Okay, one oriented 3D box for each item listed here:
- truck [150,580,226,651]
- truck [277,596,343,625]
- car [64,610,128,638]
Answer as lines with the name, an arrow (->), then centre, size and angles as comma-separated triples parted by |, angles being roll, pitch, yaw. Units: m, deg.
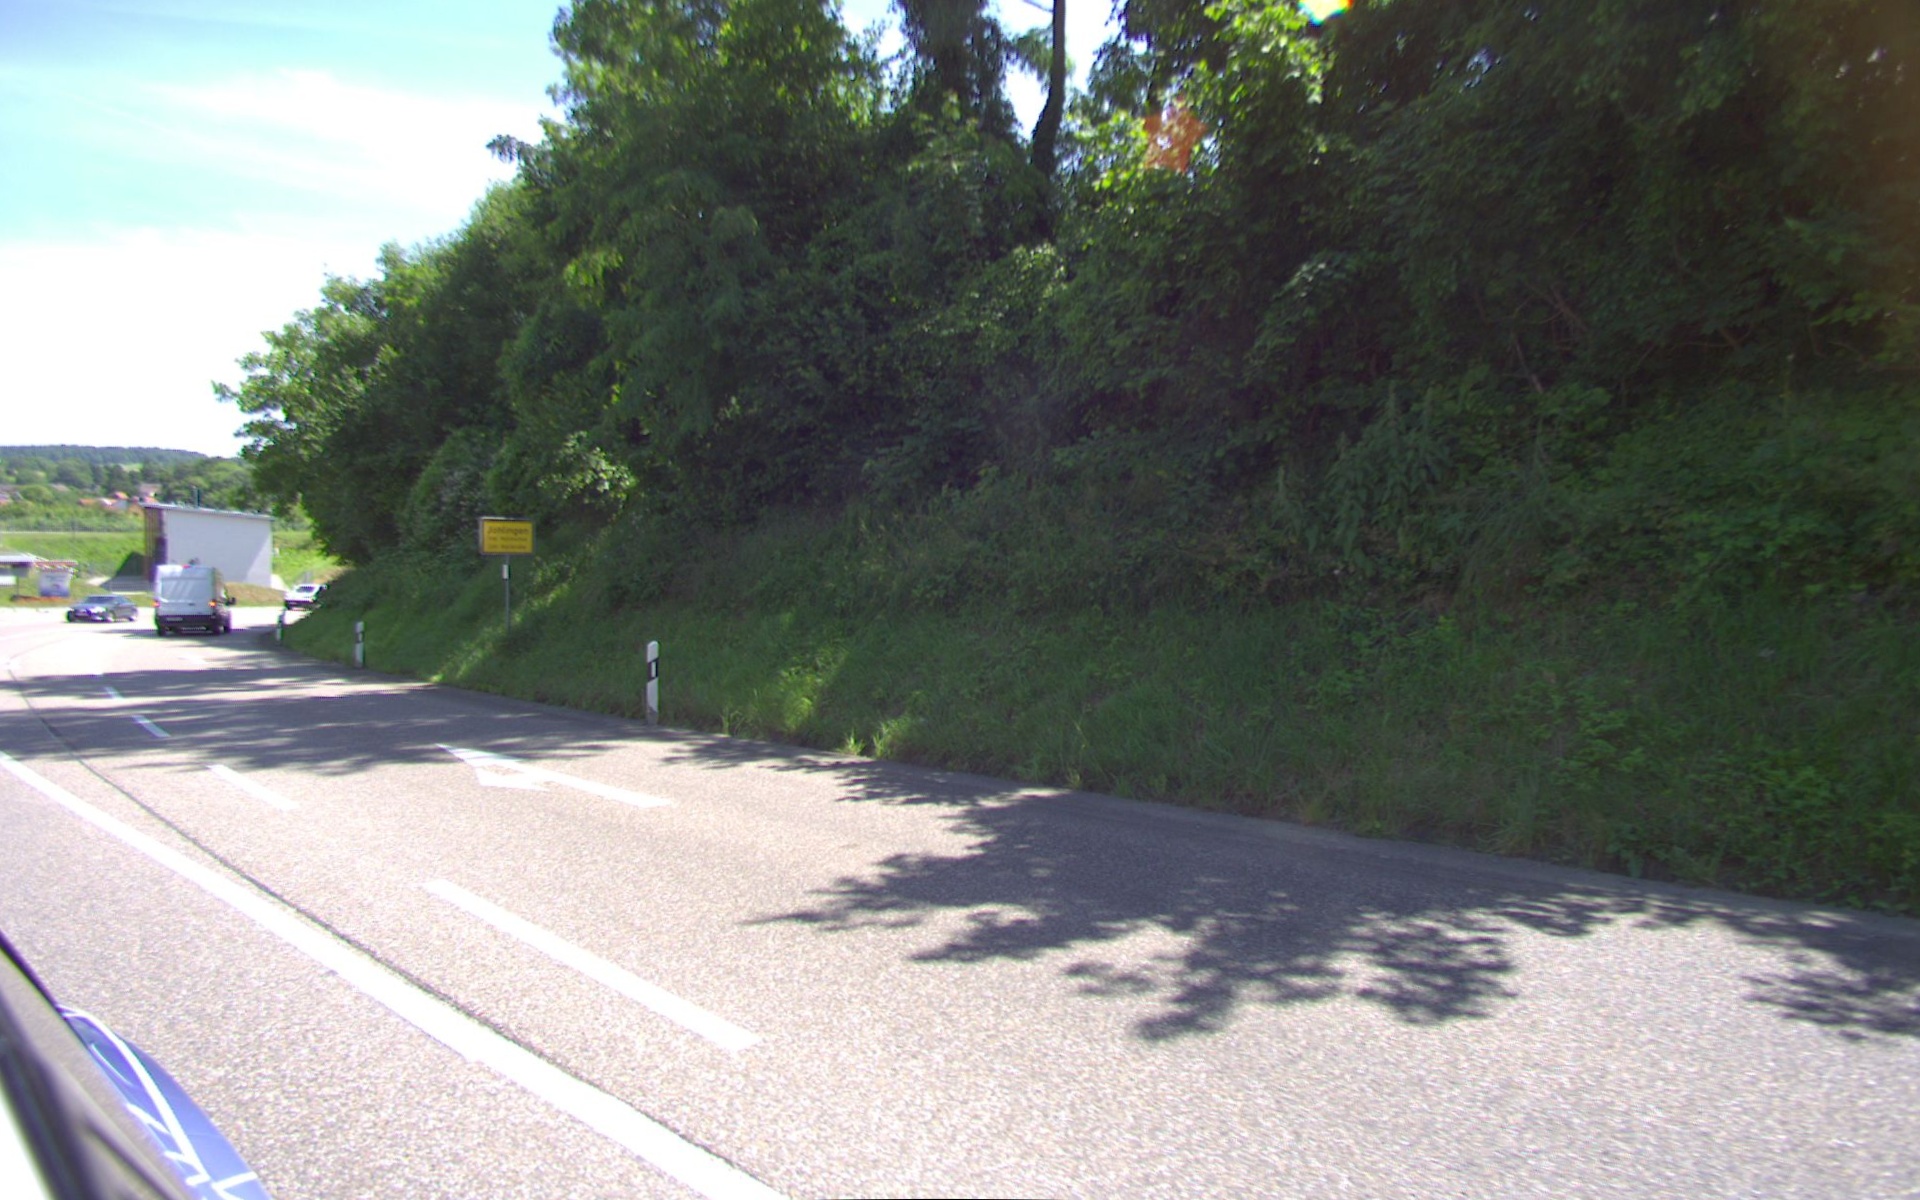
truck -> -31.724, 0.614, 41.760 | 2.025, 2.707, 5.997 | 2, -1, -33
truck -> -49.011, 0.774, 76.449 | 2.041, 2.028, 5.252 | 0, 1, -6
car -> -44.133, 1.215, 51.767 | 1.726, 1.298, 4.158 | 3, -2, -30
